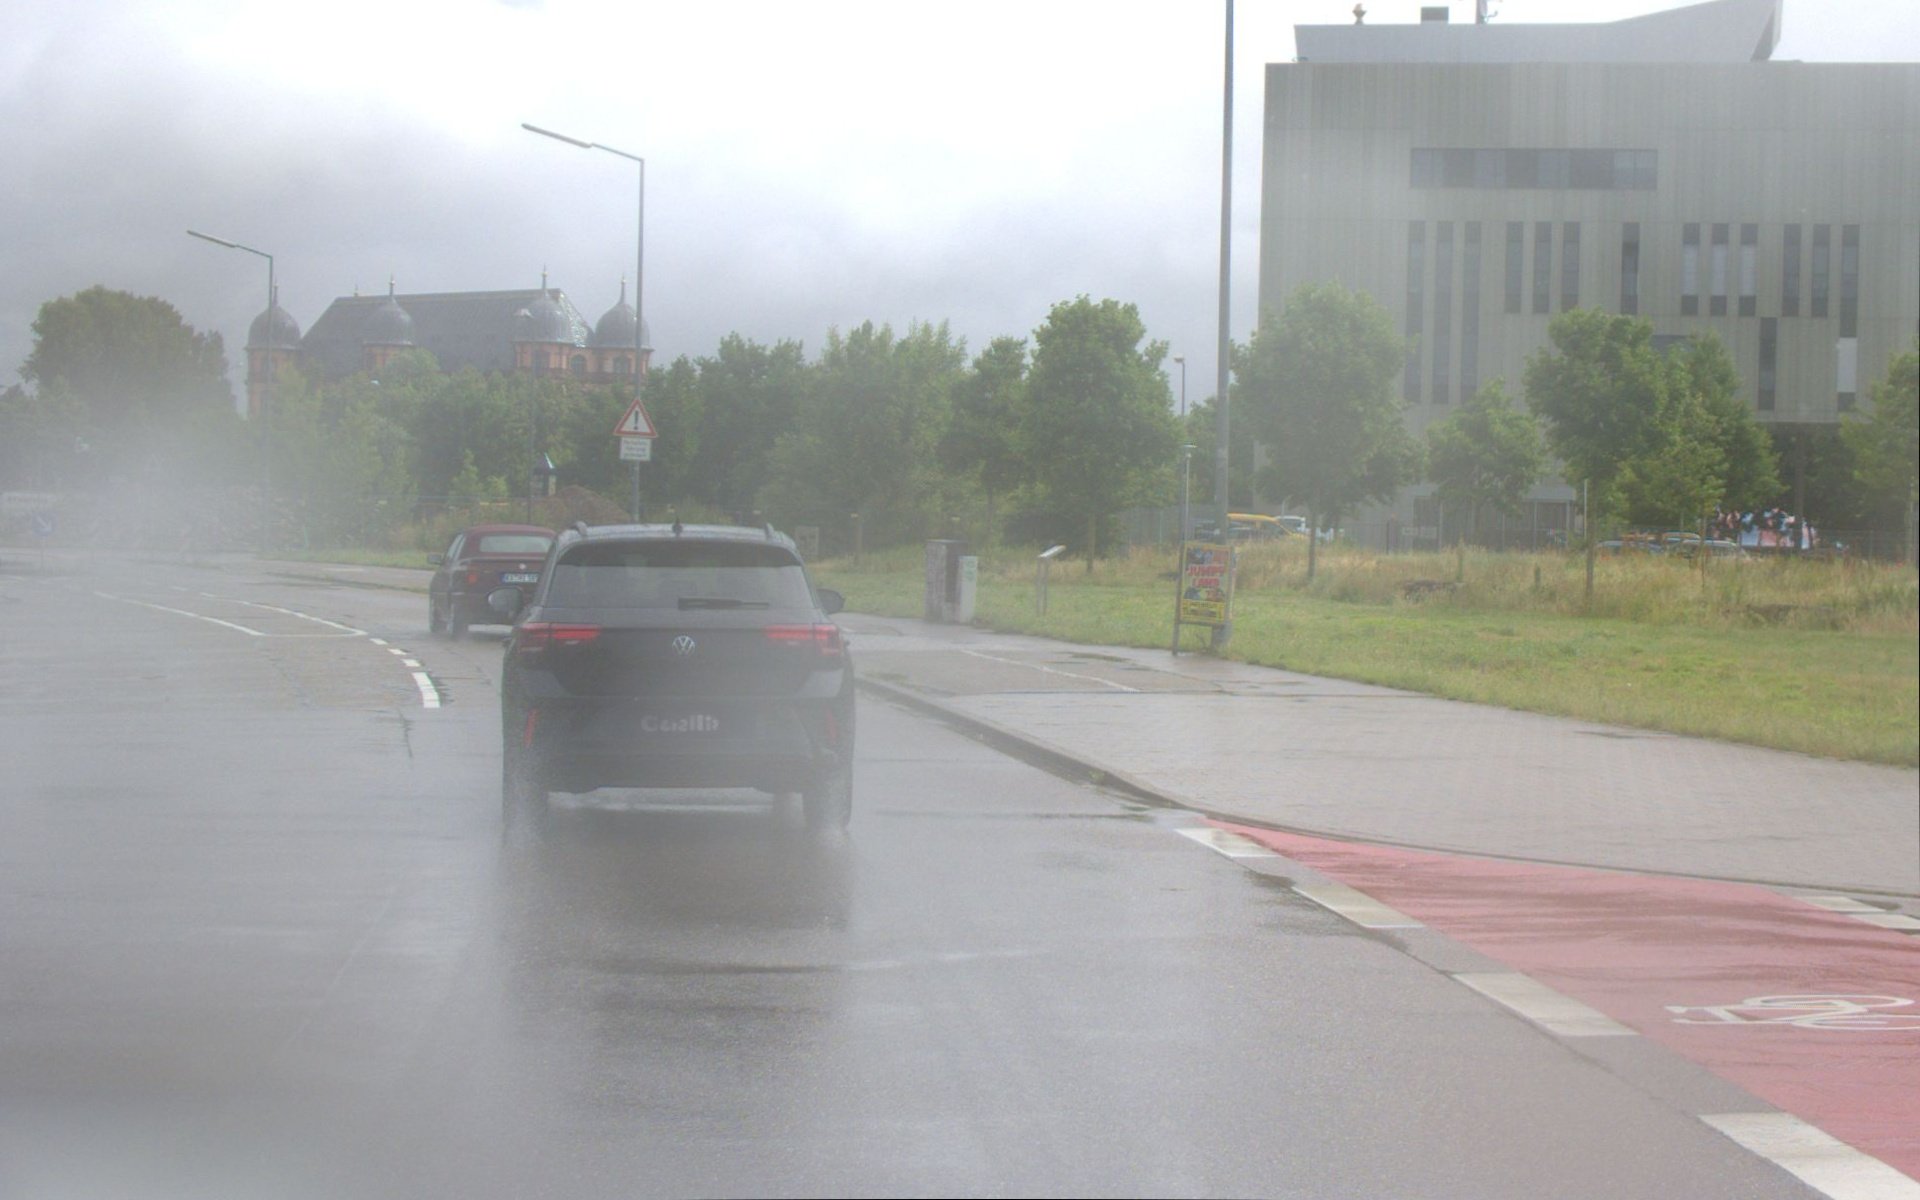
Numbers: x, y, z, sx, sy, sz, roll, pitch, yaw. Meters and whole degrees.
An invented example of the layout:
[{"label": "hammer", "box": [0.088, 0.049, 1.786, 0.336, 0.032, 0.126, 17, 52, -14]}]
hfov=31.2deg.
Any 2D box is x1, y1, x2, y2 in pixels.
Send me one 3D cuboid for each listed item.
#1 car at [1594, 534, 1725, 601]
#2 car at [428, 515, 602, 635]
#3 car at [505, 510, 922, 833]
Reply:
[{"label": "car", "box": [22.075, -1.024, 108.513, 3.701, 2.007, 1.998, 2, 1, 22]}, {"label": "car", "box": [-5.761, -0.357, 44.154, 1.841, 1.437, 4.001, -1, 1, -13]}, {"label": "car", "box": [-1.447, 0.300, 18.589, 1.986, 1.515, 4.001, 1, 2, -8]}]
